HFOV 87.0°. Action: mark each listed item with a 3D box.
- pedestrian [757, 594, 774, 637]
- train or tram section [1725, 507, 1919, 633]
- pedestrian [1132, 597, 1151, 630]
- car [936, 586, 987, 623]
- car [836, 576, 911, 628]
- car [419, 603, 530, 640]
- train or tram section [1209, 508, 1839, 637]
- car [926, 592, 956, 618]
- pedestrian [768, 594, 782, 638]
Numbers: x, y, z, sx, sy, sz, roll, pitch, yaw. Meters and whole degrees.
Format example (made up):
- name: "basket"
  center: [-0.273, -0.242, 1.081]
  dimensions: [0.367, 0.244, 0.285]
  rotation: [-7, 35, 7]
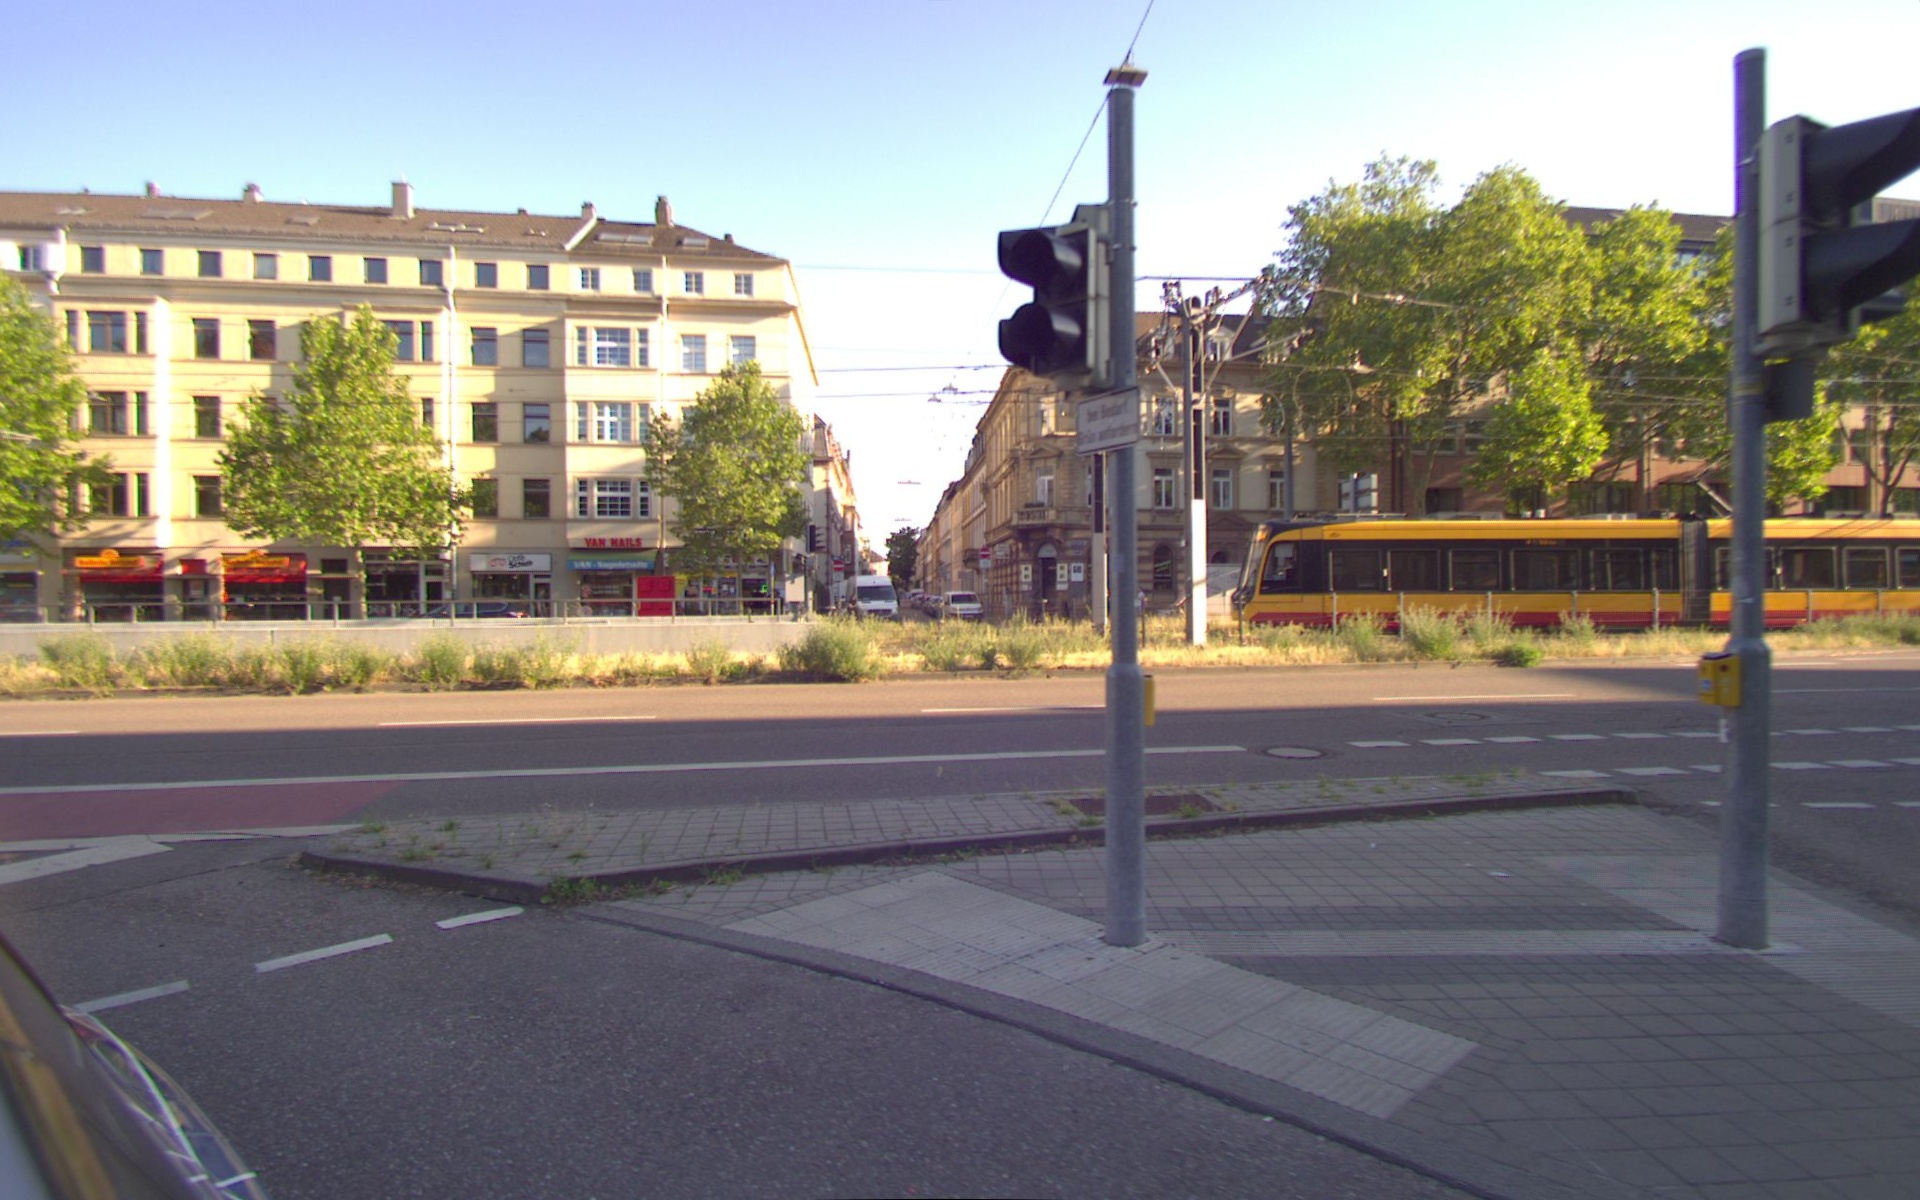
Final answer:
- name: "pedestrian"
  center: [-8.785, 0.690, 45.698]
  dimensions: [0.579, 1.933, 0.630]
  rotation: [1, 2, 11]
- name: "train or tram section"
  center: [34.160, -0.902, 31.929]
  dimensions: [19.613, 3.586, 3.128]
  rotation: [0, 0, -9]
- name: "pedestrian"
  center: [8.863, 0.647, 49.502]
  dimensions: [0.679, 1.574, 0.708]
  rotation: [0, 0, -11]
- name: "car"
  center: [0.017, 0.268, 54.641]
  dimensions: [1.954, 1.901, 4.708]
  rotation: [0, 0, -10]
- name: "car"
  center: [-4.248, 0.102, 48.151]
  dimensions: [2.429, 2.283, 7.311]
  rotation: [0, 0, -14]
- name: "car"
  center: [-18.897, 0.825, 39.500]
  dimensions: [3.652, 1.342, 1.461]
  rotation: [0, 2, -7]
- name: "train or tram section"
  center: [16.564, -0.790, 30.601]
  dimensions: [17.231, 3.586, 3.122]
  rotation: [0, 0, 0]
- name: "car"
  center: [-1.400, 0.337, 73.460]
  dimensions: [1.757, 1.829, 4.007]
  rotation: [0, 0, -7]
- name: "pedestrian"
  center: [-8.312, 0.700, 45.486]
  dimensions: [0.577, 1.933, 0.634]
  rotation: [0, 2, -7]
